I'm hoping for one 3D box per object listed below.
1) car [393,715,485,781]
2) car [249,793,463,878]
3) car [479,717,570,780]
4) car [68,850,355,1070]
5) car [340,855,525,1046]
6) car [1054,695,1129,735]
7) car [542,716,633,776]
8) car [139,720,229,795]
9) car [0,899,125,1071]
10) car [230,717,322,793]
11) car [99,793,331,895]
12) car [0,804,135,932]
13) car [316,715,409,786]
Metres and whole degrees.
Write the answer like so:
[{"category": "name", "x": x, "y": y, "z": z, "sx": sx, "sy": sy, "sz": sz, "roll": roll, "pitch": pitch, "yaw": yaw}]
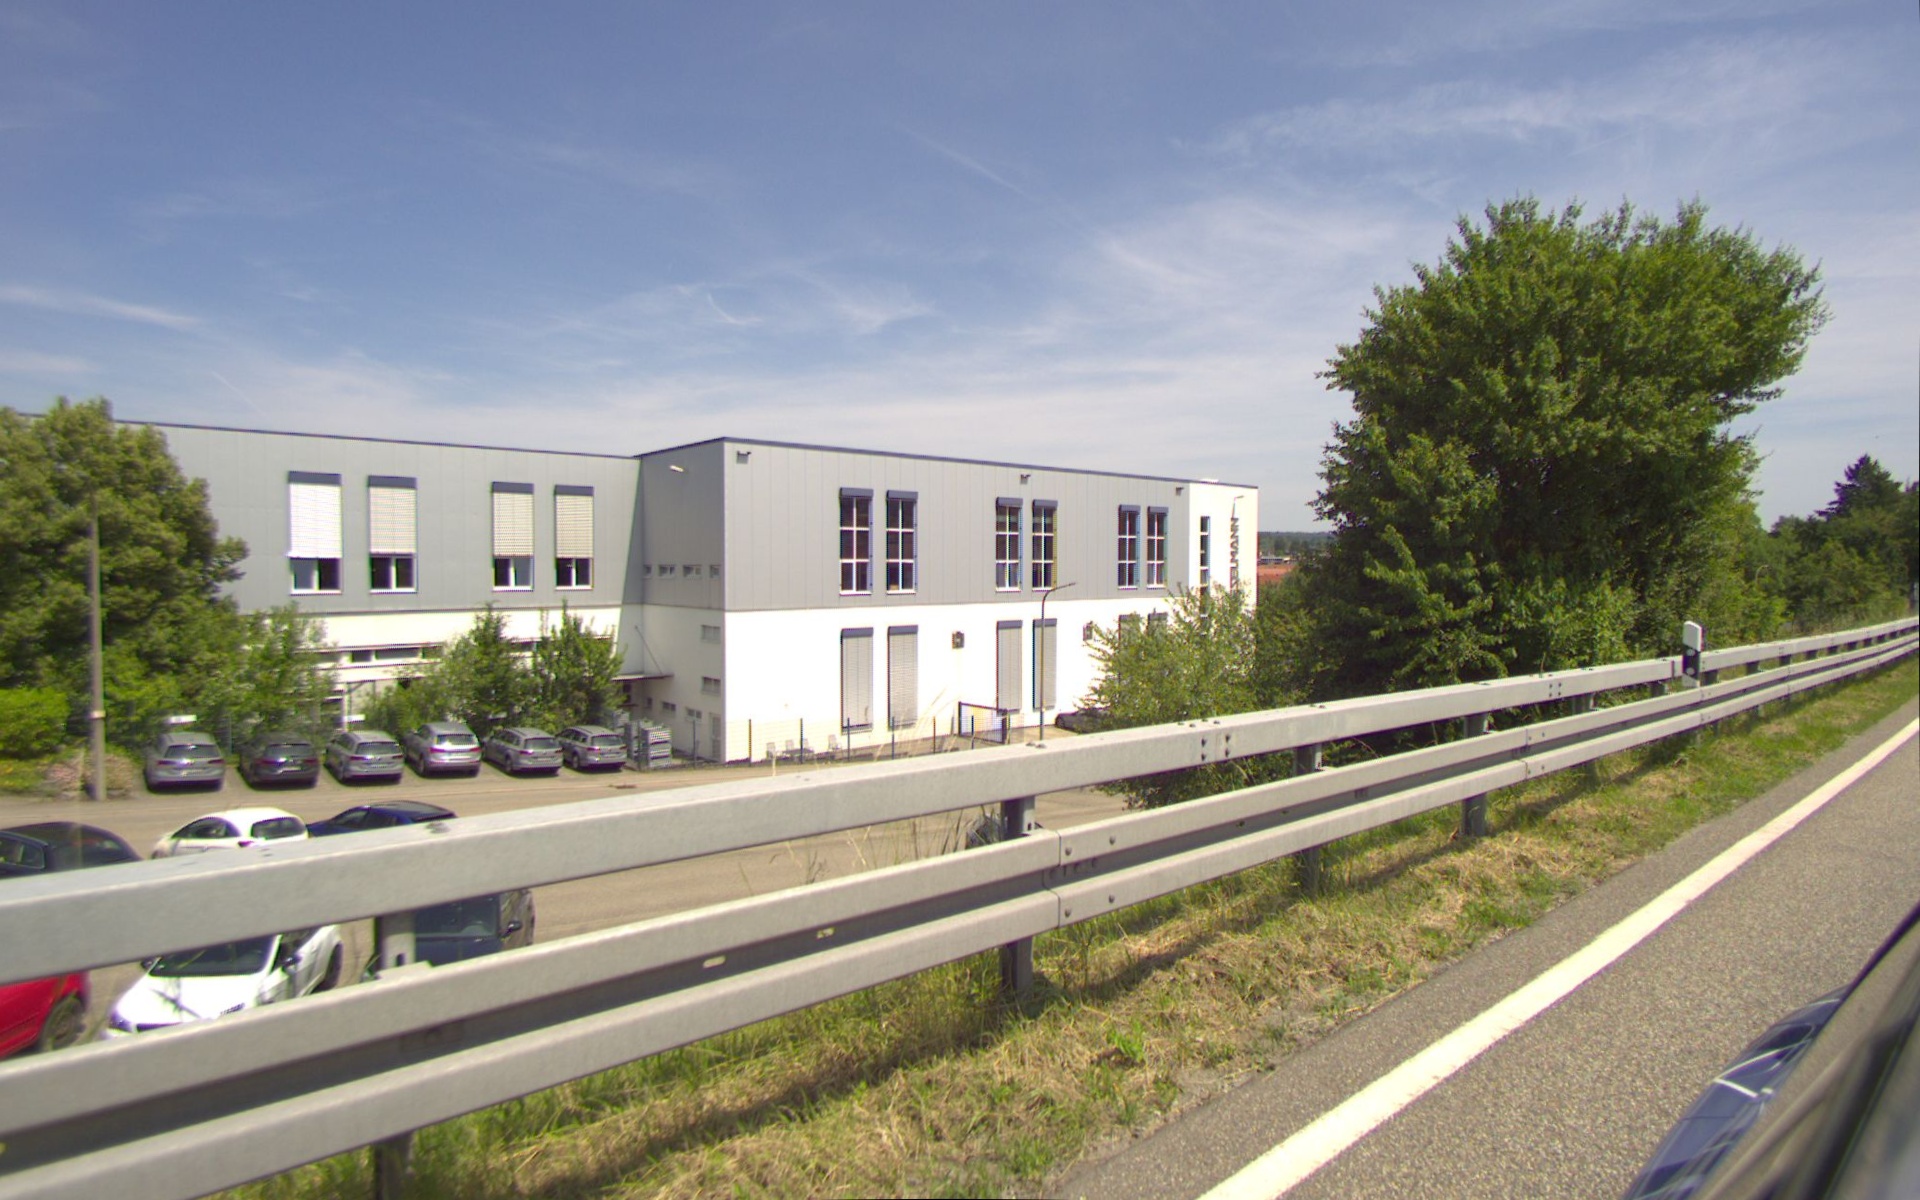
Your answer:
[{"category": "car", "x": -18.523, "y": 5.180, "z": 35.892, "sx": 1.879, "sy": 1.592, "sz": 4.044, "roll": 3, "pitch": 0, "yaw": -42}, {"category": "car", "x": -13.638, "y": 5.250, "z": 22.880, "sx": 4.355, "sy": 1.464, "sz": 1.777, "roll": -2, "pitch": -5, "yaw": 20}, {"category": "car", "x": -16.096, "y": 5.408, "z": 37.309, "sx": 1.879, "sy": 1.592, "sz": 4.044, "roll": 3, "pitch": 0, "yaw": -42}, {"category": "car", "x": -10.057, "y": 4.738, "z": 14.071, "sx": 1.859, "sy": 1.685, "sz": 4.417, "roll": 1, "pitch": -5, "yaw": -18}, {"category": "car", "x": -7.719, "y": 5.052, "z": 15.248, "sx": 1.752, "sy": 1.564, "sz": 4.417, "roll": 1, "pitch": -5, "yaw": -18}, {"category": "car", "x": 7.704, "y": 6.686, "z": 59.420, "sx": 1.879, "sy": 1.591, "sz": 4.047, "roll": 4, "pitch": 3, "yaw": -42}, {"category": "car", "x": -14.349, "y": 5.566, "z": 38.920, "sx": 1.879, "sy": 1.592, "sz": 4.044, "roll": 3, "pitch": 0, "yaw": -42}, {"category": "car", "x": -23.745, "y": 4.730, "z": 30.898, "sx": 1.789, "sy": 1.592, "sz": 4.578, "roll": 3, "pitch": -2, "yaw": -42}, {"category": "car", "x": -12.134, "y": 4.686, "z": 11.448, "sx": 1.946, "sy": 1.580, "sz": 4.412, "roll": 0, "pitch": -5, "yaw": -5}, {"category": "car", "x": -21.915, "y": 4.879, "z": 32.366, "sx": 1.789, "sy": 1.592, "sz": 4.580, "roll": 3, "pitch": 0, "yaw": -42}, {"category": "car", "x": -15.578, "y": 5.025, "z": 21.184, "sx": 4.355, "sy": 1.626, "sz": 1.777, "roll": -2, "pitch": -5, "yaw": 20}, {"category": "car", "x": -17.665, "y": 4.825, "z": 18.656, "sx": 4.356, "sy": 1.561, "sz": 1.777, "roll": 1, "pitch": -4, "yaw": 20}, {"category": "car", "x": -20.168, "y": 4.991, "z": 34.082, "sx": 1.789, "sy": 1.592, "sz": 4.580, "roll": 3, "pitch": 0, "yaw": -42}]
